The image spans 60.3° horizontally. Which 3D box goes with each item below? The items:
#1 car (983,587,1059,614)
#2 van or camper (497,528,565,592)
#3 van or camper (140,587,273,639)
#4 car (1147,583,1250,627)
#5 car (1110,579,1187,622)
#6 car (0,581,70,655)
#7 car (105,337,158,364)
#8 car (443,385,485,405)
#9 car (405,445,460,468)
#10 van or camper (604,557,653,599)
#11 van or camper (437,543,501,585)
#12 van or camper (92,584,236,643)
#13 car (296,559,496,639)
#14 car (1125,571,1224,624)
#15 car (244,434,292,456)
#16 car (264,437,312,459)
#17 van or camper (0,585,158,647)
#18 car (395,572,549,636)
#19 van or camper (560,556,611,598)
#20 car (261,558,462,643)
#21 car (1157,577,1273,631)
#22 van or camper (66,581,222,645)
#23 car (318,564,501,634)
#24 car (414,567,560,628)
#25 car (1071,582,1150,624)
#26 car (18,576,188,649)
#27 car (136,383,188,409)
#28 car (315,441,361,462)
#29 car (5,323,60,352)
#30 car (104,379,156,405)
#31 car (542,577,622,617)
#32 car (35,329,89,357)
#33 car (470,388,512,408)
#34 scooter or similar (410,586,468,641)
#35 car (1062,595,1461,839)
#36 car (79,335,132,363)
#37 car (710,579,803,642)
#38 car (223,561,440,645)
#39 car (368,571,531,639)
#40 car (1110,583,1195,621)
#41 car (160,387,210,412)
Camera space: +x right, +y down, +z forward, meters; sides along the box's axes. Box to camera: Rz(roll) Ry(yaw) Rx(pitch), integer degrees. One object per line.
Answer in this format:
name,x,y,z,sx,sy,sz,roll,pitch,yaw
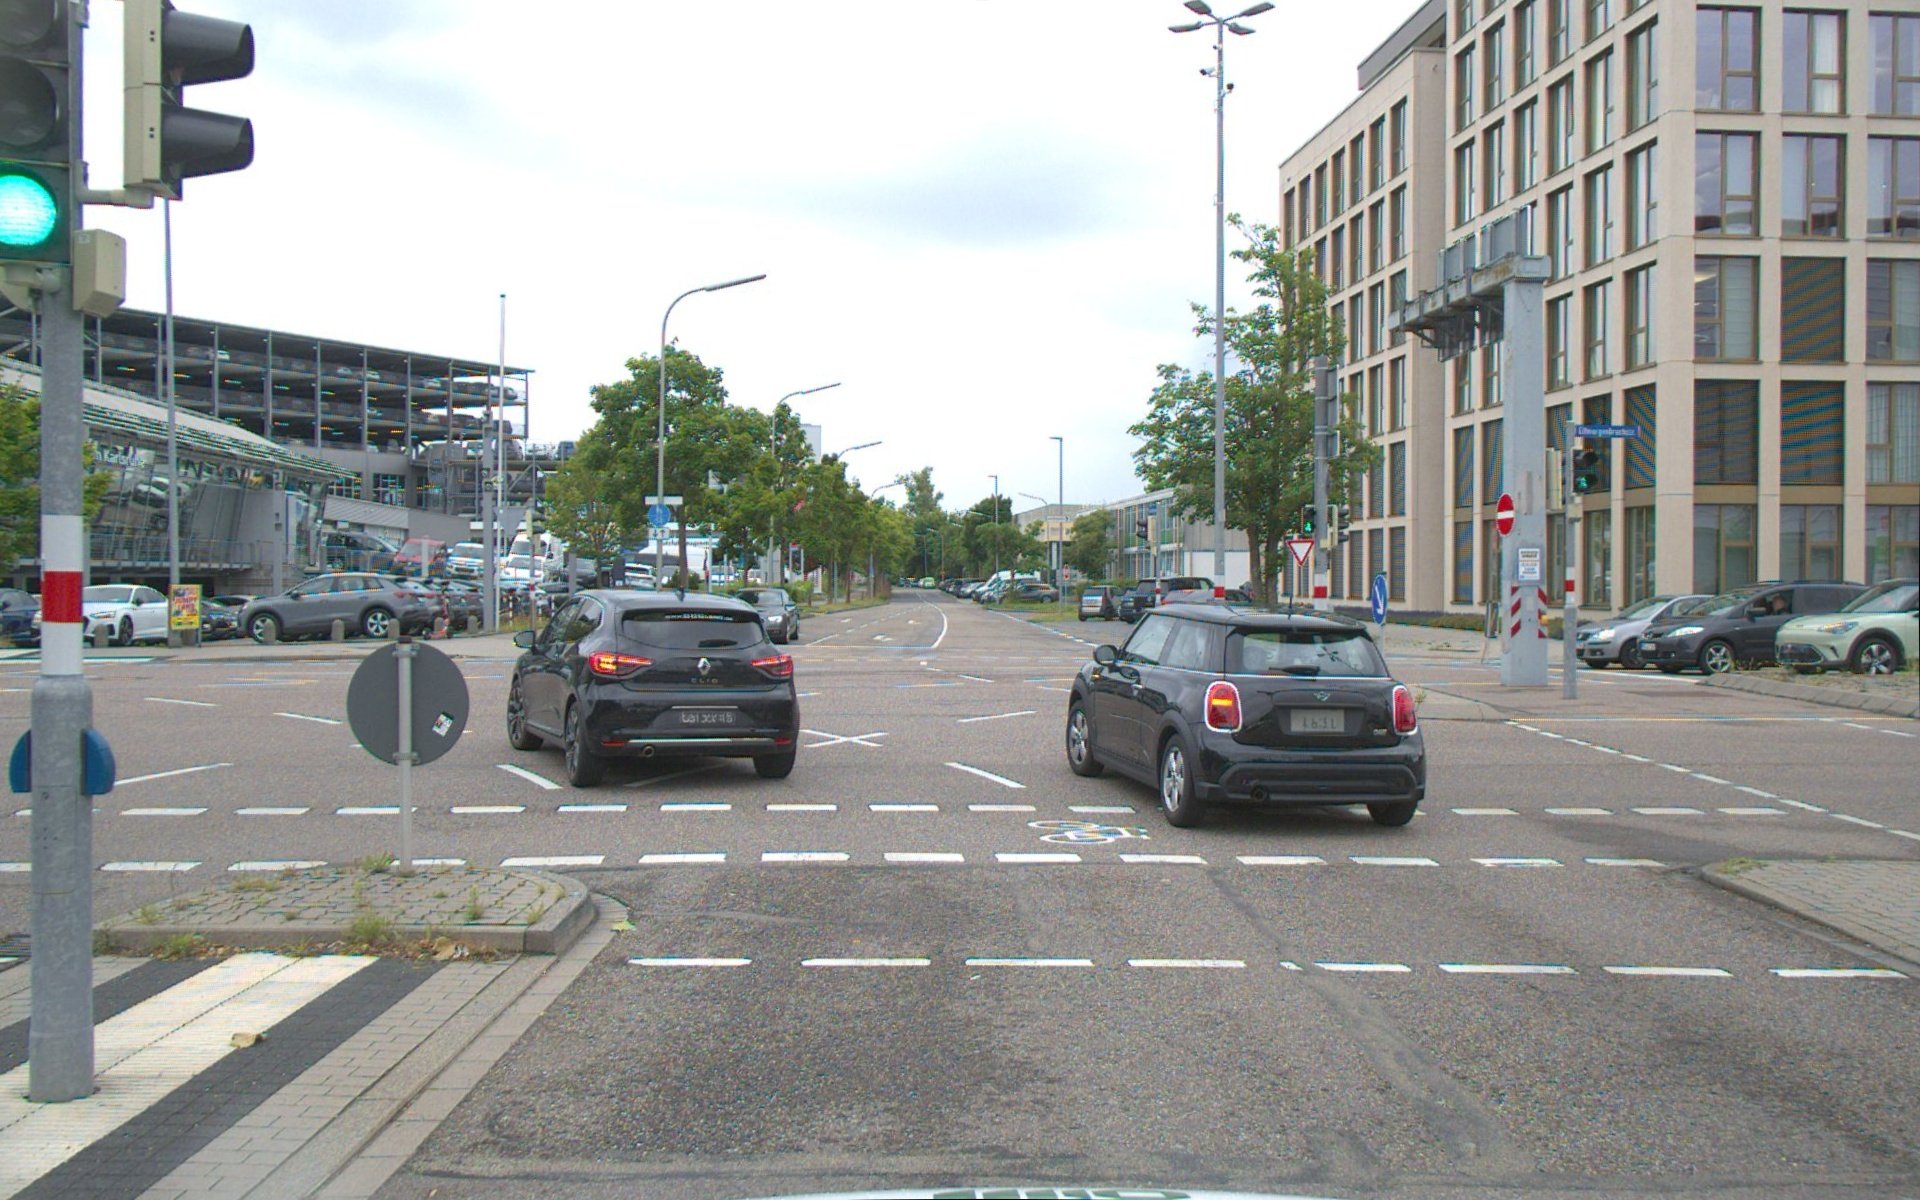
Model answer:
car,4.228,0.042,114.825,5.071,1.750,2.142,2,-1,-4
van or camper,-22.009,-2.016,85.041,2.486,3.079,4.838,2,-1,-5
van or camper,-27.045,0.467,59.449,3.909,1.741,1.845,2,-1,-6
car,9.000,0.205,62.254,1.856,1.578,4.106,0,-1,43
car,8.379,0.037,73.549,3.406,1.830,1.566,2,-1,-43
car,-21.698,0.418,36.527,2.024,1.512,4.510,-1,-2,-6
car,-67.526,-20.288,134.794,3.913,1.696,1.996,1,0,31
car,-49.856,-20.591,166.214,3.913,1.696,1.996,1,0,31
car,-52.460,-14.258,164.452,5.211,1.979,2.208,1,0,27
van or camper,-17.084,-1.097,85.355,1.955,2.049,3.996,2,-1,-5
van or camper,-21.827,-1.588,73.680,1.955,1.680,3.995,2,-1,-5
van or camper,-26.897,0.456,55.977,3.909,1.847,1.845,2,-1,-6
car,-15.960,-0.026,47.056,4.926,2.049,2.263,-2,0,-6
car,8.506,-0.072,65.443,1.963,2.000,4.222,0,-1,40
car,-61.050,-13.649,145.904,3.913,1.696,1.996,1,0,31
car,-60.106,-13.607,147.902,3.913,1.696,1.996,1,0,31
van or camper,-26.044,0.467,48.631,3.910,1.707,1.998,2,-1,-6
car,-16.972,0.149,57.685,4.799,2.049,1.997,-2,0,-6
van or camper,-19.234,-1.161,85.103,1.955,2.049,3.996,2,-1,-5
car,-15.859,0.012,44.050,4.610,2.049,1.997,-2,0,-6
car,8.954,0.156,57.864,4.097,1.799,1.860,1,-1,-41
van or camper,-25.443,0.410,51.678,3.909,1.847,1.845,2,-1,-6
car,-16.444,-0.029,49.671,4.854,1.909,2.050,-2,-1,-8
car,-17.258,-0.074,60.510,4.799,2.049,1.997,-2,0,-6
car,6.838,0.144,75.110,3.406,1.762,1.738,2,-1,-43
car,-18.948,0.320,36.796,1.832,1.512,4.225,-1,-1,-4
car,-65.972,-16.842,136.735,3.913,1.696,1.996,1,0,31
car,-57.405,-13.723,152.632,3.913,1.696,1.996,1,0,31
car,-71.670,-20.251,127.841,3.913,1.696,1.996,1,0,31
car,-67.489,-16.904,134.539,3.913,1.696,1.996,1,0,31
car,-20.376,-0.160,89.301,3.908,2.049,1.998,2,-1,-4
car,-70.622,-20.201,130.047,3.913,1.696,1.996,1,0,31
car,-48.106,-20.682,169.619,3.913,1.696,1.996,1,0,31
scooter or similar,-12.237,0.315,38.912,0.545,1.240,1.561,3,1,12
car,2.005,0.735,12.093,1.753,1.440,3.636,2,1,-9
car,-68.510,-20.118,132.584,3.913,1.696,1.996,1,0,31
car,-5.321,0.237,43.766,1.938,1.578,4.613,0,1,-1
car,-15.688,0.075,41.485,4.680,1.895,1.997,-2,0,-6
car,-16.899,0.158,54.967,4.799,2.049,1.997,-2,0,-6
car,8.028,0.109,68.831,1.667,1.538,3.795,0,-1,41
car,-65.020,-16.801,138.752,3.913,1.696,1.996,1,0,31
